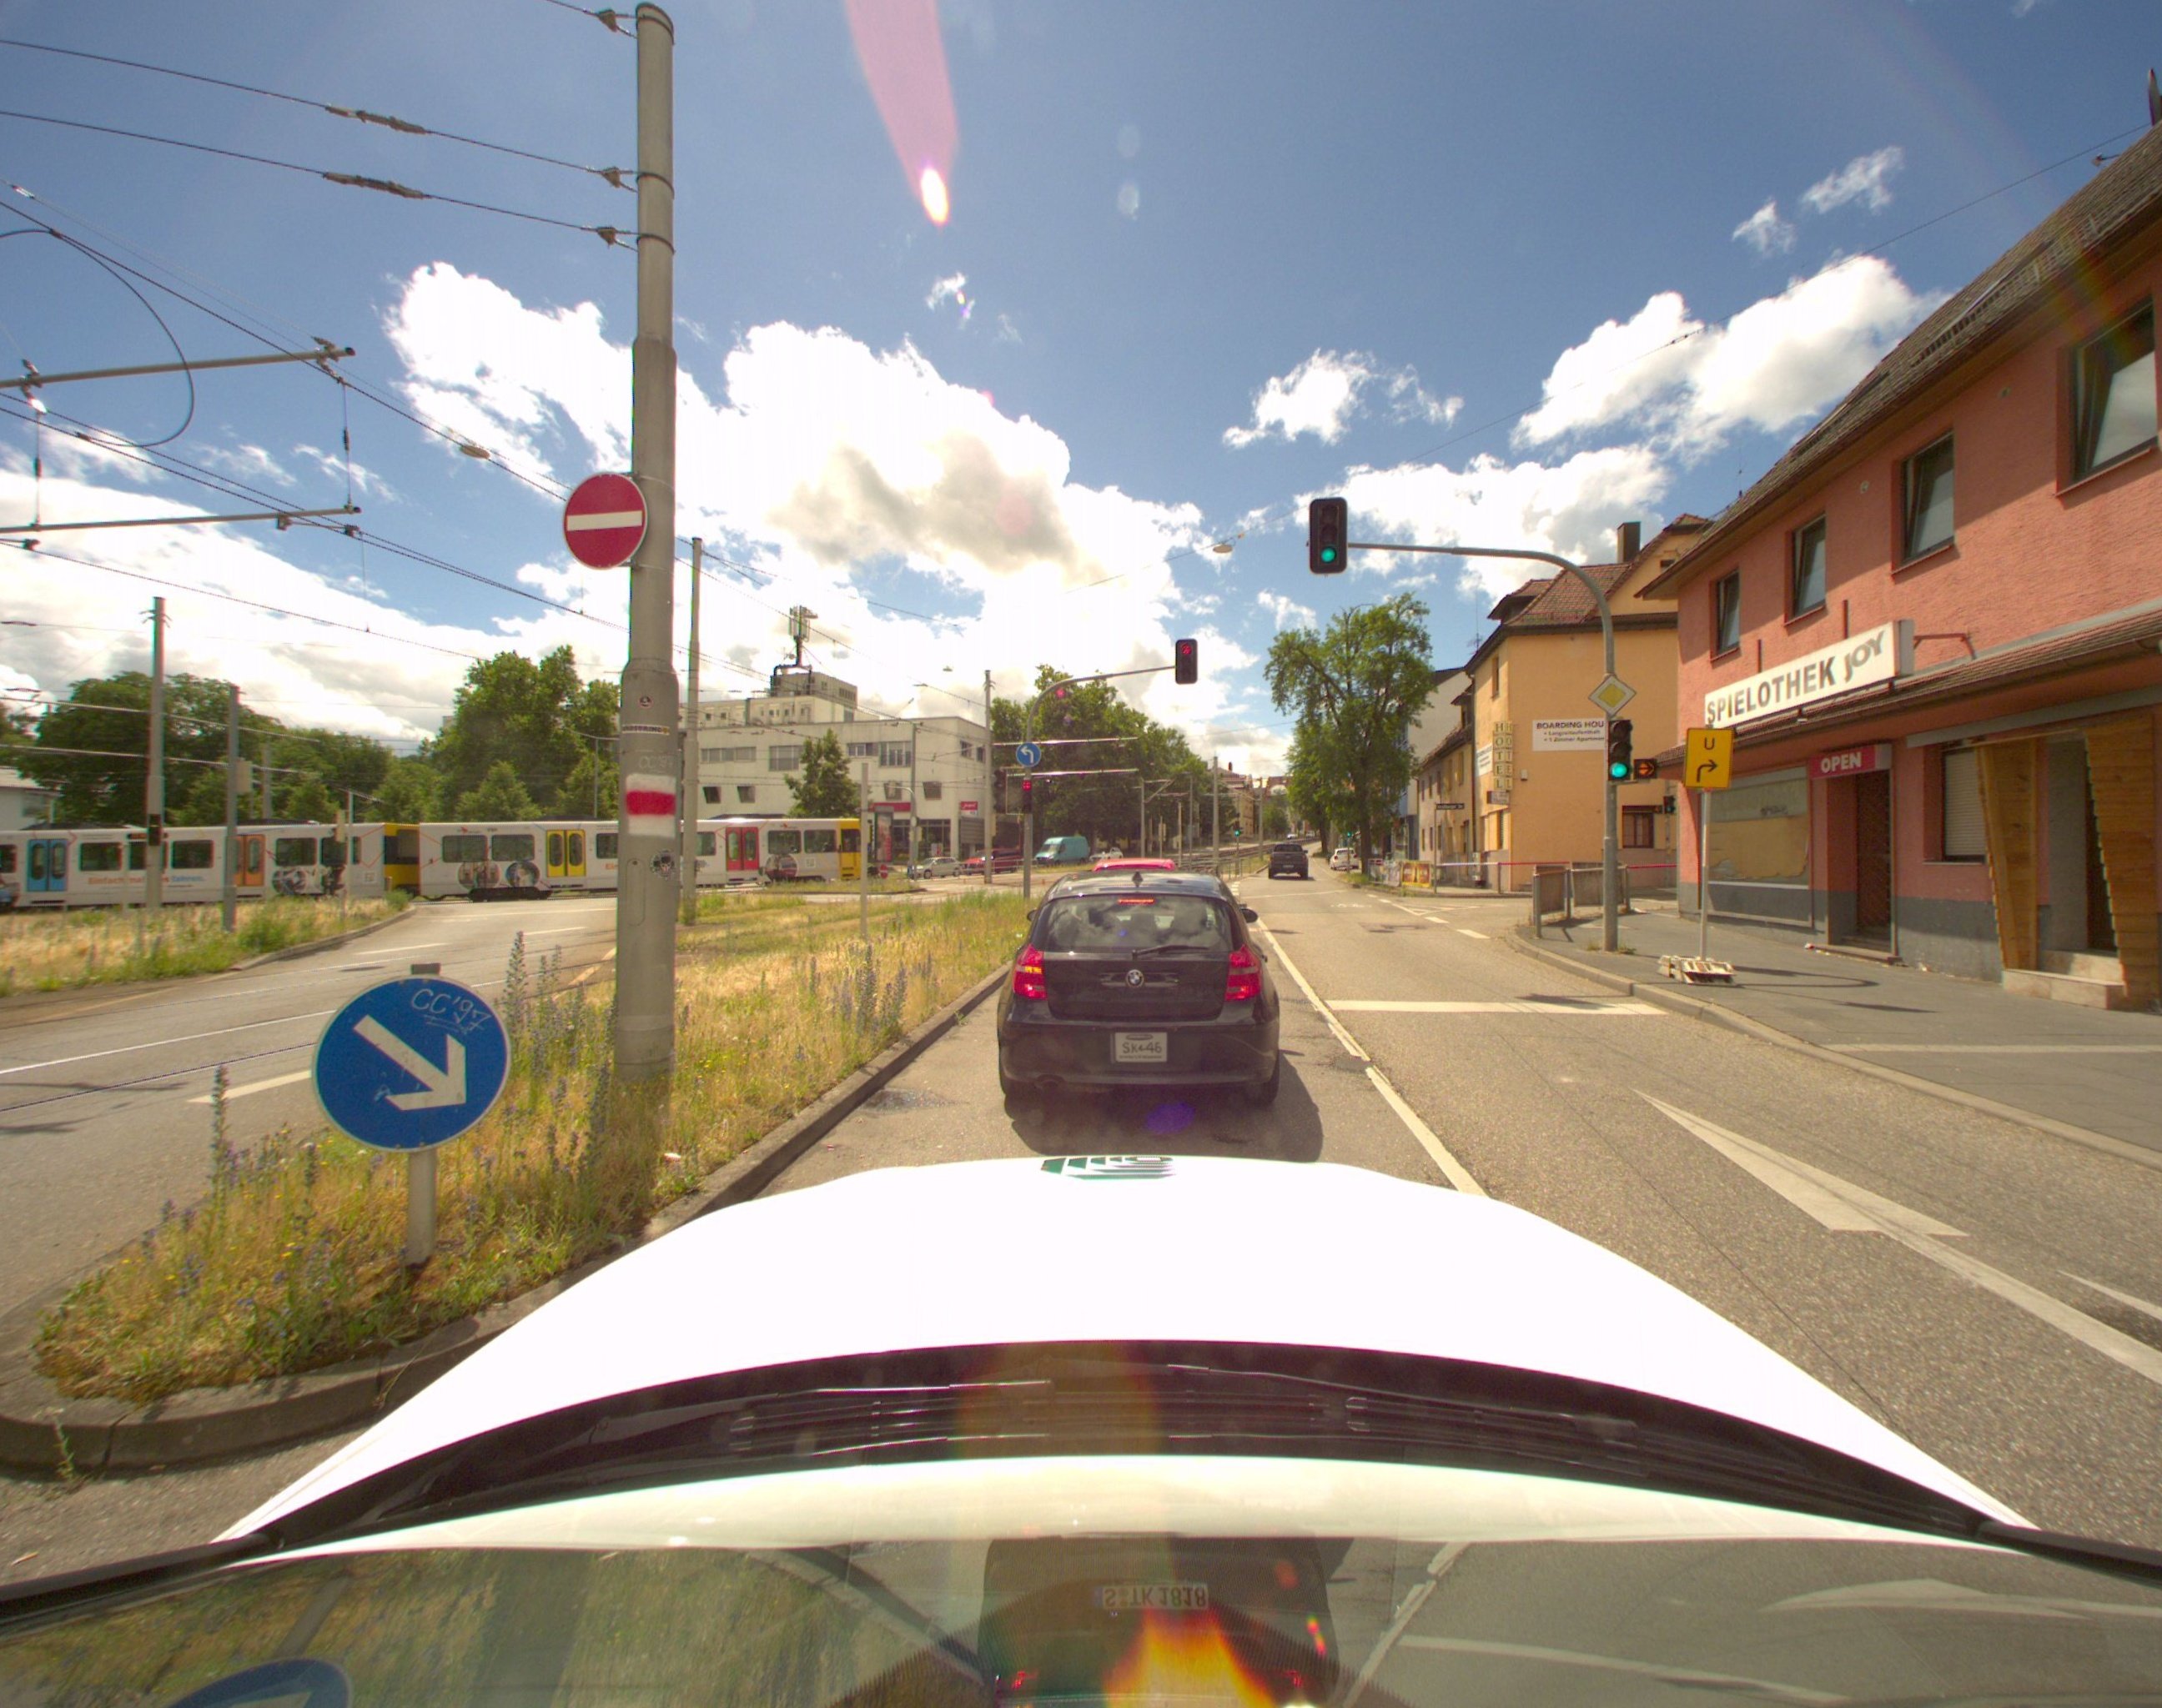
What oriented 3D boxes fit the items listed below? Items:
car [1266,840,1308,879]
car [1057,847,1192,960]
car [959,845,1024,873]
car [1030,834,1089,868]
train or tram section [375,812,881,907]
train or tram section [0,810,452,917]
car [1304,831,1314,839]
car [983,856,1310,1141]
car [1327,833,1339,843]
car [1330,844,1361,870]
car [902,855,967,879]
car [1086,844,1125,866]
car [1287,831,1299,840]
[{"bbox_3d":[10.943,0.301,43.234,1.984,1.887,5.170,-2,-1,15],"label":"car"},{"bbox_3d":[0.840,0.694,12.911,1.615,1.473,4.011,-2,-1,10],"label":"car"},{"bbox_3d":[-6.624,0.337,60.911,1.835,2.009,4.828,-3,-1,40],"label":"car"},{"bbox_3d":[-1.746,-0.242,67.990,2.110,2.654,5.726,-2,-1,31],"label":"car"},{"bbox_3d":[-20.025,0.085,38.688,20.086,3.814,3.730,-1,-1,-26],"label":"train or tram section"},{"bbox_3d":[-38.572,0.452,34.126,20.527,3.879,3.756,-2,-1,-4],"label":"train or tram section"},{"bbox_3d":[57.711,-4.791,206.015,1.976,2.014,4.022,-2,-1,23],"label":"car"},{"bbox_3d":[0.340,0.792,6.318,1.696,1.452,3.999,-2,-1,0],"label":"car"},{"bbox_3d":[48.884,-3.113,157.672,1.977,1.662,4.020,-2,-1,20],"label":"car"},{"bbox_3d":[18.020,0.215,55.612,1.774,1.596,4.016,-2,-1,15],"label":"car"},{"bbox_3d":[-10.111,0.896,56.460,1.835,1.585,4.195,-3,-1,42],"label":"car"},{"bbox_3d":[2.298,0.101,74.984,1.836,1.928,4.824,-2,-1,24],"label":"car"},{"bbox_3d":[48.672,-4.251,186.911,1.976,2.014,4.022,-2,-1,23],"label":"car"}]
